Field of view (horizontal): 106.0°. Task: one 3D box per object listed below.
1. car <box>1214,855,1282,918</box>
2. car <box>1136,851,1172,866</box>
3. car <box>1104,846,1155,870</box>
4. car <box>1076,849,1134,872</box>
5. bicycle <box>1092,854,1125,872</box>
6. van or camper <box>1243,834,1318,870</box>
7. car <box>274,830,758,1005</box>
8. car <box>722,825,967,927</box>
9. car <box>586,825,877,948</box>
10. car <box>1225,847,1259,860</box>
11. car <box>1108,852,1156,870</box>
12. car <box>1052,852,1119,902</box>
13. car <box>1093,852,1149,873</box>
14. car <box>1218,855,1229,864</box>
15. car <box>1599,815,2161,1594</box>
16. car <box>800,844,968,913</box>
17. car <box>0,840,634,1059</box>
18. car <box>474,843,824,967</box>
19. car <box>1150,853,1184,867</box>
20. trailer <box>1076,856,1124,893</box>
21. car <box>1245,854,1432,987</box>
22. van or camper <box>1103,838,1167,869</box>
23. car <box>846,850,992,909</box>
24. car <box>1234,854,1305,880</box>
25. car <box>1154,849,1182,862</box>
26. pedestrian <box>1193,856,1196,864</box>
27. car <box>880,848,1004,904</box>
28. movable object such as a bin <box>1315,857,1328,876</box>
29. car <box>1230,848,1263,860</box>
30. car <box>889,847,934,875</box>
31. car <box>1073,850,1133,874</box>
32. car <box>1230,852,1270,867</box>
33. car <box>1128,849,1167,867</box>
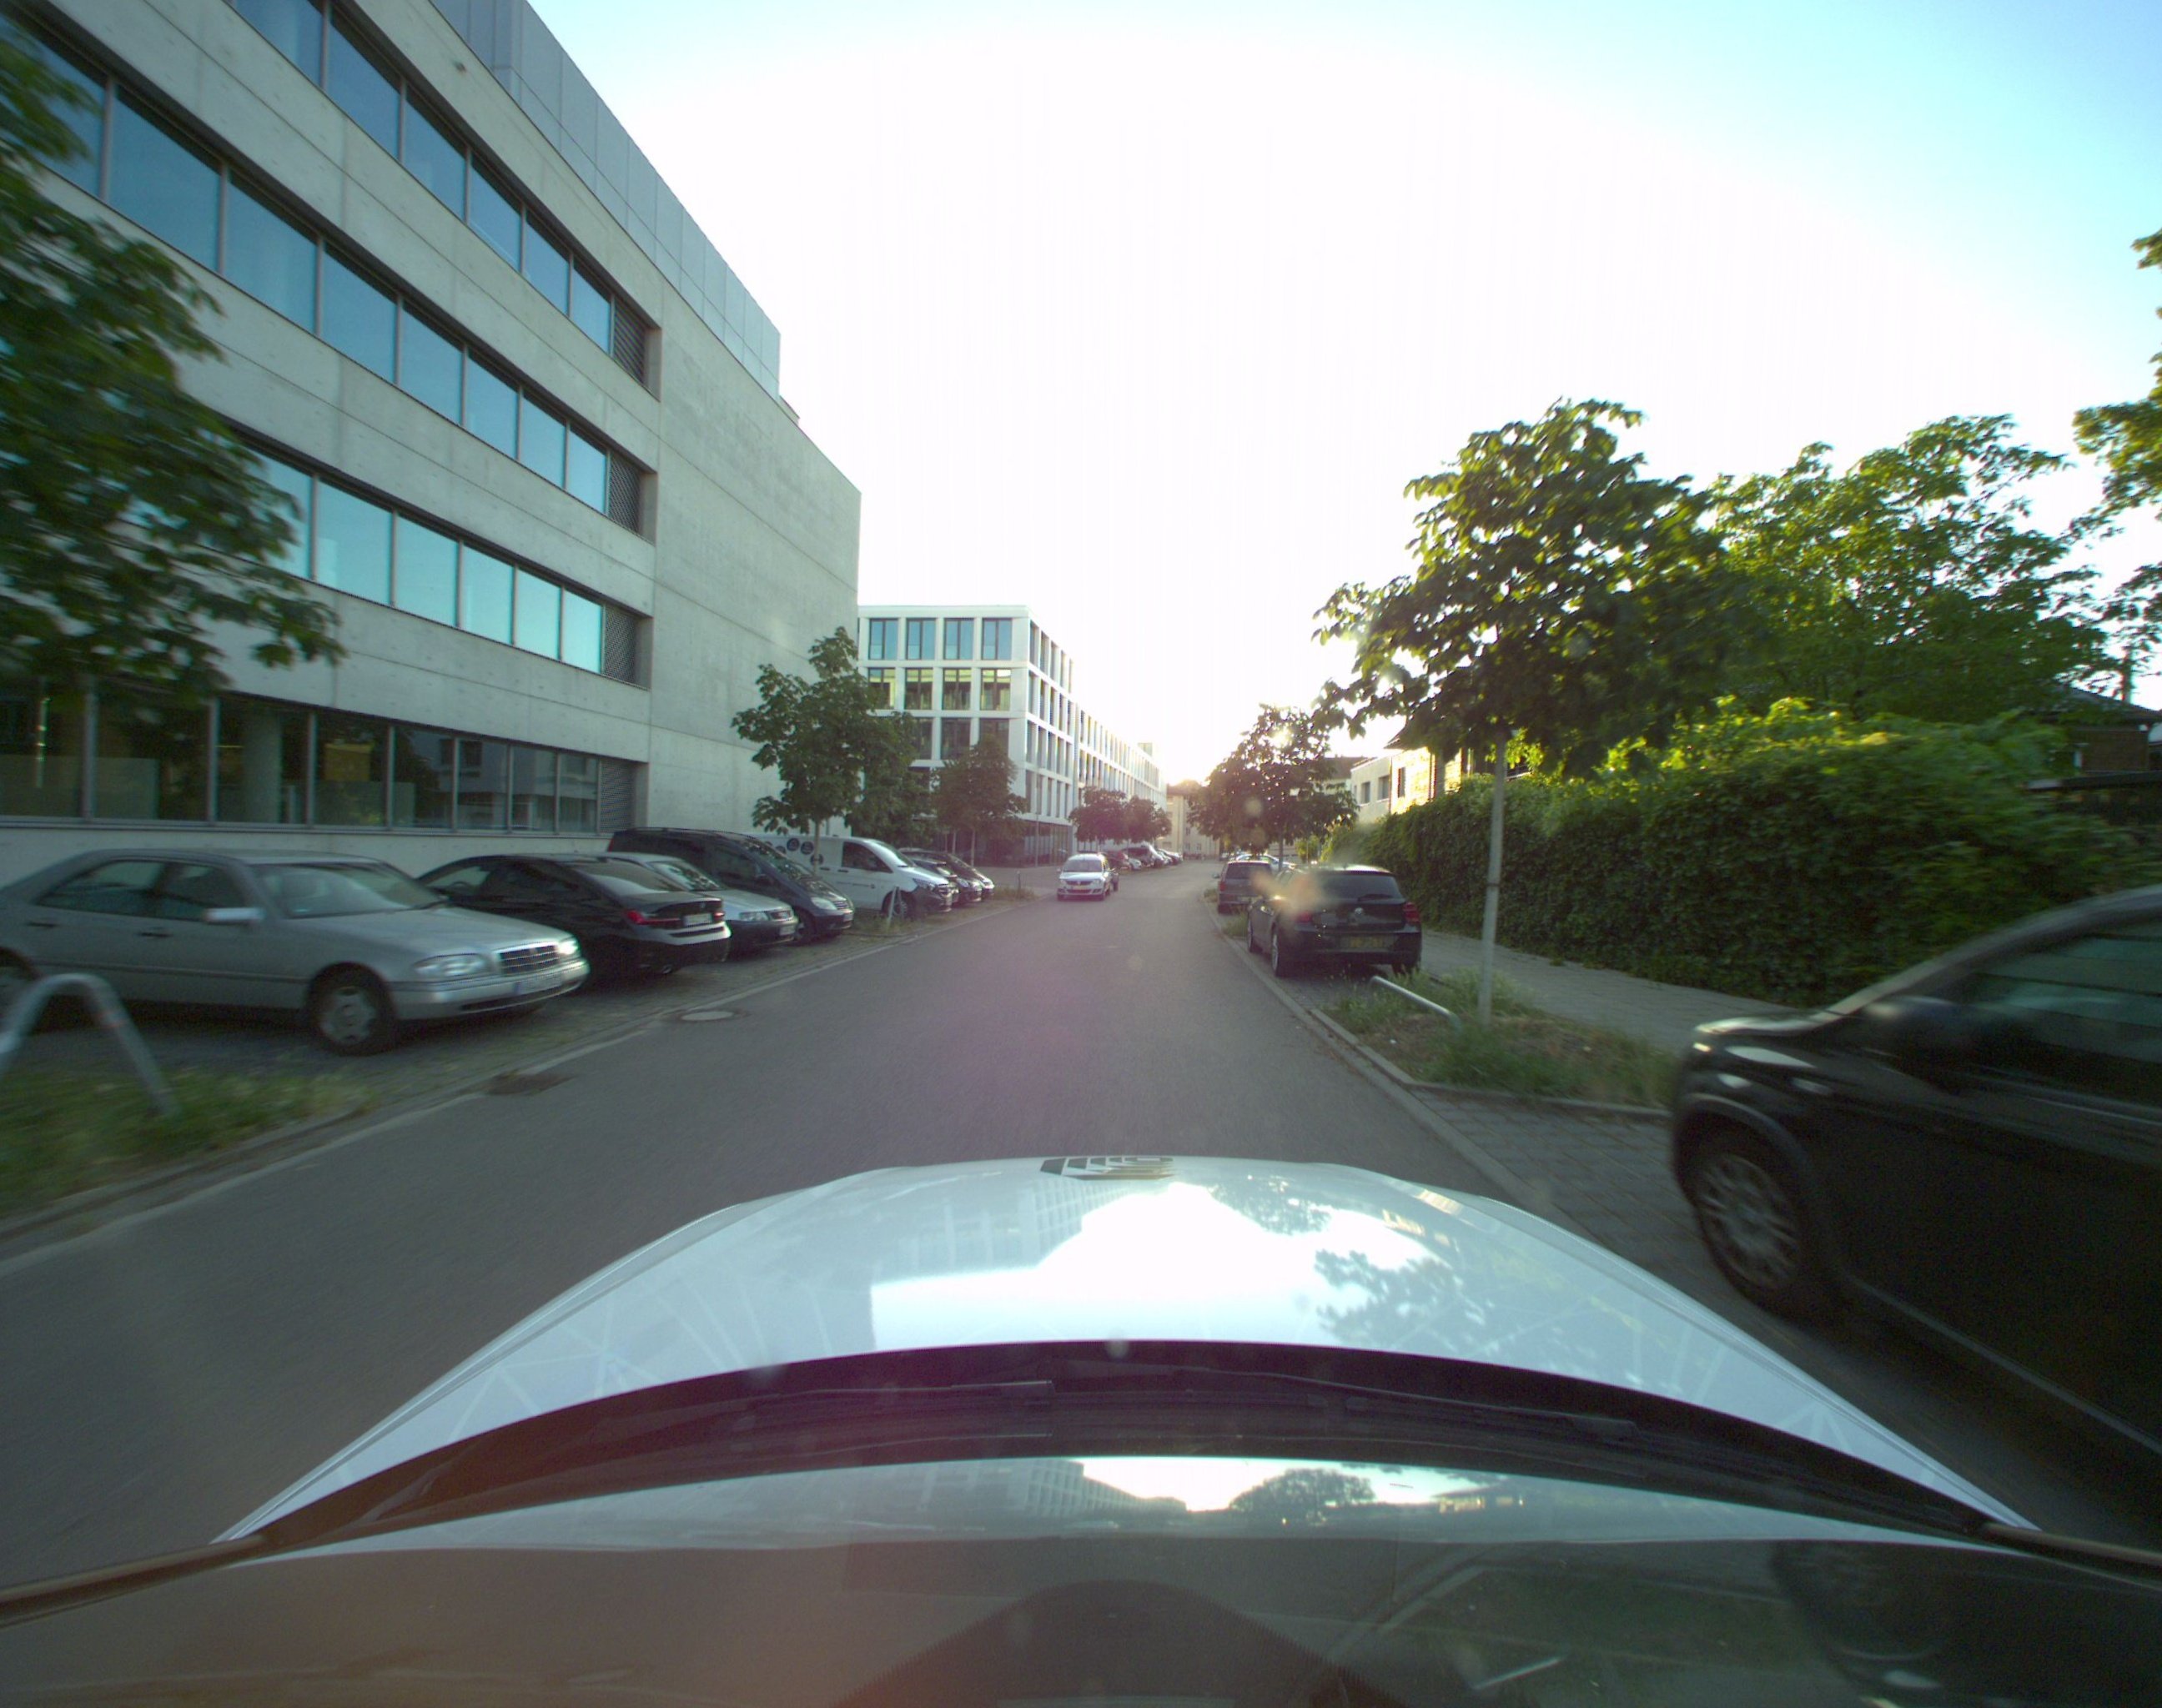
[{"bbox_3d":[4.755,0.841,23.582,1.714,1.580,4.610,1,0,10],"label":"car"},{"bbox_3d":[7.590,0.495,84.563,3.535,1.479,1.463,0,1,12],"label":"car"},{"bbox_3d":[4.072,0.351,67.924,4.027,1.908,1.740,0,1,8],"label":"car"},{"bbox_3d":[1.822,0.458,60.735,4.023,1.479,1.773,3,1,12],"label":"car"},{"bbox_3d":[1.880,0.601,55.653,2.164,1.174,0.814,1,0,11],"label":"bicycle"},{"bbox_3d":[15.711,-0.169,64.573,5.578,2.789,2.435,0,1,8],"label":"van or camper"},{"bbox_3d":[-6.271,0.635,9.306,4.374,1.499,1.767,4,0,7],"label":"car"},{"bbox_3d":[-5.449,0.490,19.146,5.053,1.946,1.891,4,0,4],"label":"car"},{"bbox_3d":[-5.988,0.531,14.263,4.228,1.742,1.726,4,0,3],"label":"car"},{"bbox_3d":[21.422,-0.106,108.290,4.318,1.644,1.820,0,1,7],"label":"car"},{"bbox_3d":[4.444,0.625,70.612,4.027,1.524,1.740,0,1,8],"label":"car"},{"bbox_3d":[0.246,0.797,30.555,1.942,1.686,4.732,0,0,7],"label":"car"},{"bbox_3d":[3.110,0.649,63.014,4.022,1.479,1.774,0,1,12],"label":"car"},{"bbox_3d":[27.172,1.050,155.500,1.938,1.585,3.651,1,0,10],"label":"car"},{"bbox_3d":[2.894,0.685,1.680,1.571,1.509,3.499,0,0,3],"label":"car"},{"bbox_3d":[-5.215,0.625,21.835,3.970,1.522,1.607,4,0,3],"label":"car"},{"bbox_3d":[-6.517,0.686,6.959,4.415,1.464,1.765,2,1,3],"label":"car"},{"bbox_3d":[-6.163,0.685,11.924,4.126,1.404,1.726,4,0,3],"label":"car"},{"bbox_3d":[9.580,0.630,90.595,3.535,1.479,1.463,0,1,12],"label":"car"},{"bbox_3d":[0.863,0.839,35.137,1.697,1.348,3.494,3,2,7],"label":"trailer"},{"bbox_3d":[3.406,0.763,11.556,1.684,1.509,4.199,0,0,5],"label":"car"},{"bbox_3d":[4.856,-0.075,72.802,5.416,2.483,1.781,3,1,12],"label":"van or camper"},{"bbox_3d":[-4.764,0.725,24.270,3.867,1.488,1.654,3,1,5],"label":"car"},{"bbox_3d":[11.232,0.761,48.779,4.028,1.479,1.771,0,1,7],"label":"car"},{"bbox_3d":[9.927,0.212,92.982,2.995,1.421,1.463,0,1,12],"label":"car"},{"bbox_3d":[21.250,1.096,152.188,0.498,1.379,0.456,1,0,9],"label":"pedestrian"},{"bbox_3d":[-4.574,0.700,27.068,3.612,1.577,1.666,3,1,10],"label":"car"},{"bbox_3d":[13.808,0.715,46.801,0.575,1.010,0.690,1,1,7],"label":"movable object such as a bin"},{"bbox_3d":[21.295,-0.032,104.716,4.028,1.479,1.771,0,1,7],"label":"car"},{"bbox_3d":[-10.324,0.393,49.931,1.714,1.485,3.557,1,3,5],"label":"car"},{"bbox_3d":[1.592,0.557,57.815,4.026,1.478,1.772,3,2,9],"label":"car"},{"bbox_3d":[17.589,0.538,84.828,4.023,1.479,1.774,0,1,12],"label":"car"},{"bbox_3d":[6.345,0.411,77.531,3.535,1.652,1.463,0,1,12],"label":"car"}]
